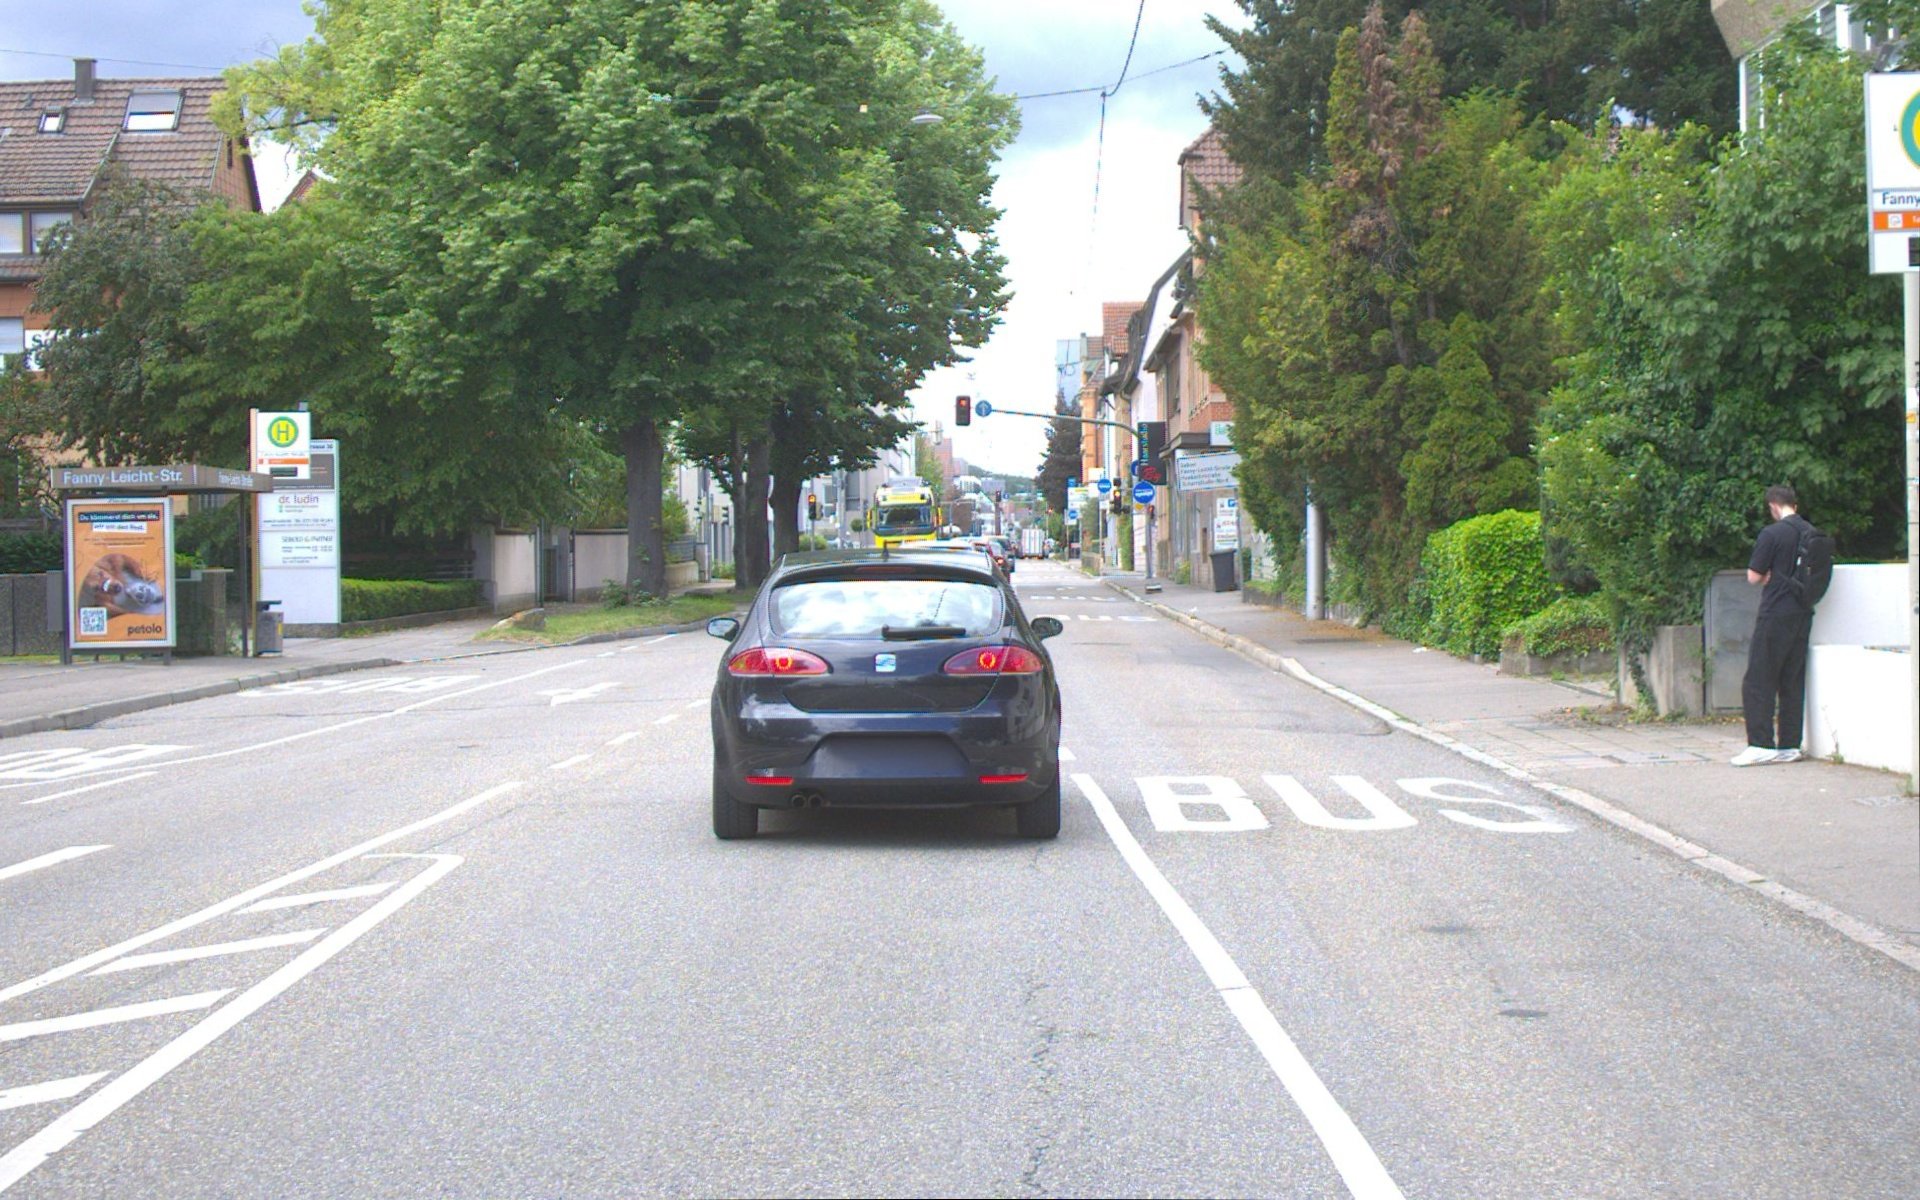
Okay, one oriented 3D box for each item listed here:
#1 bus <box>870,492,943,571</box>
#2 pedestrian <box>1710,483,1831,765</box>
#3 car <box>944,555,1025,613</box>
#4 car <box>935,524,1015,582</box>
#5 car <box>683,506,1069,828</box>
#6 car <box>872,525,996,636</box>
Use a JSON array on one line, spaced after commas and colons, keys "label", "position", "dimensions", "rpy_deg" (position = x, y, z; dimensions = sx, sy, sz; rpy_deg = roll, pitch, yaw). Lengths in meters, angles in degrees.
[{"label": "bus", "position": [-2.137, -2.735, 139.501], "dimensions": [2.868, 3.125, 6.397], "rpy_deg": [0, 1, 0]}, {"label": "pedestrian", "position": [4.991, 0.145, 21.191], "dimensions": [0.585, 1.706, 0.529], "rpy_deg": [-1, 0, -1]}, {"label": "car", "position": [0.750, -0.470, 101.446], "dimensions": [1.994, 1.678, 3.999], "rpy_deg": [0, 0, 6]}, {"label": "car", "position": [0.364, -1.219, 89.628], "dimensions": [1.941, 1.476, 4.253], "rpy_deg": [0, 1, -2]}, {"label": "car", "position": [-0.495, 0.299, 18.097], "dimensions": [1.759, 1.444, 3.715], "rpy_deg": [3, 0, -3]}, {"label": "car", "position": [-0.376, -0.330, 54.785], "dimensions": [1.819, 1.693, 4.253], "rpy_deg": [0, 1, 2]}]
